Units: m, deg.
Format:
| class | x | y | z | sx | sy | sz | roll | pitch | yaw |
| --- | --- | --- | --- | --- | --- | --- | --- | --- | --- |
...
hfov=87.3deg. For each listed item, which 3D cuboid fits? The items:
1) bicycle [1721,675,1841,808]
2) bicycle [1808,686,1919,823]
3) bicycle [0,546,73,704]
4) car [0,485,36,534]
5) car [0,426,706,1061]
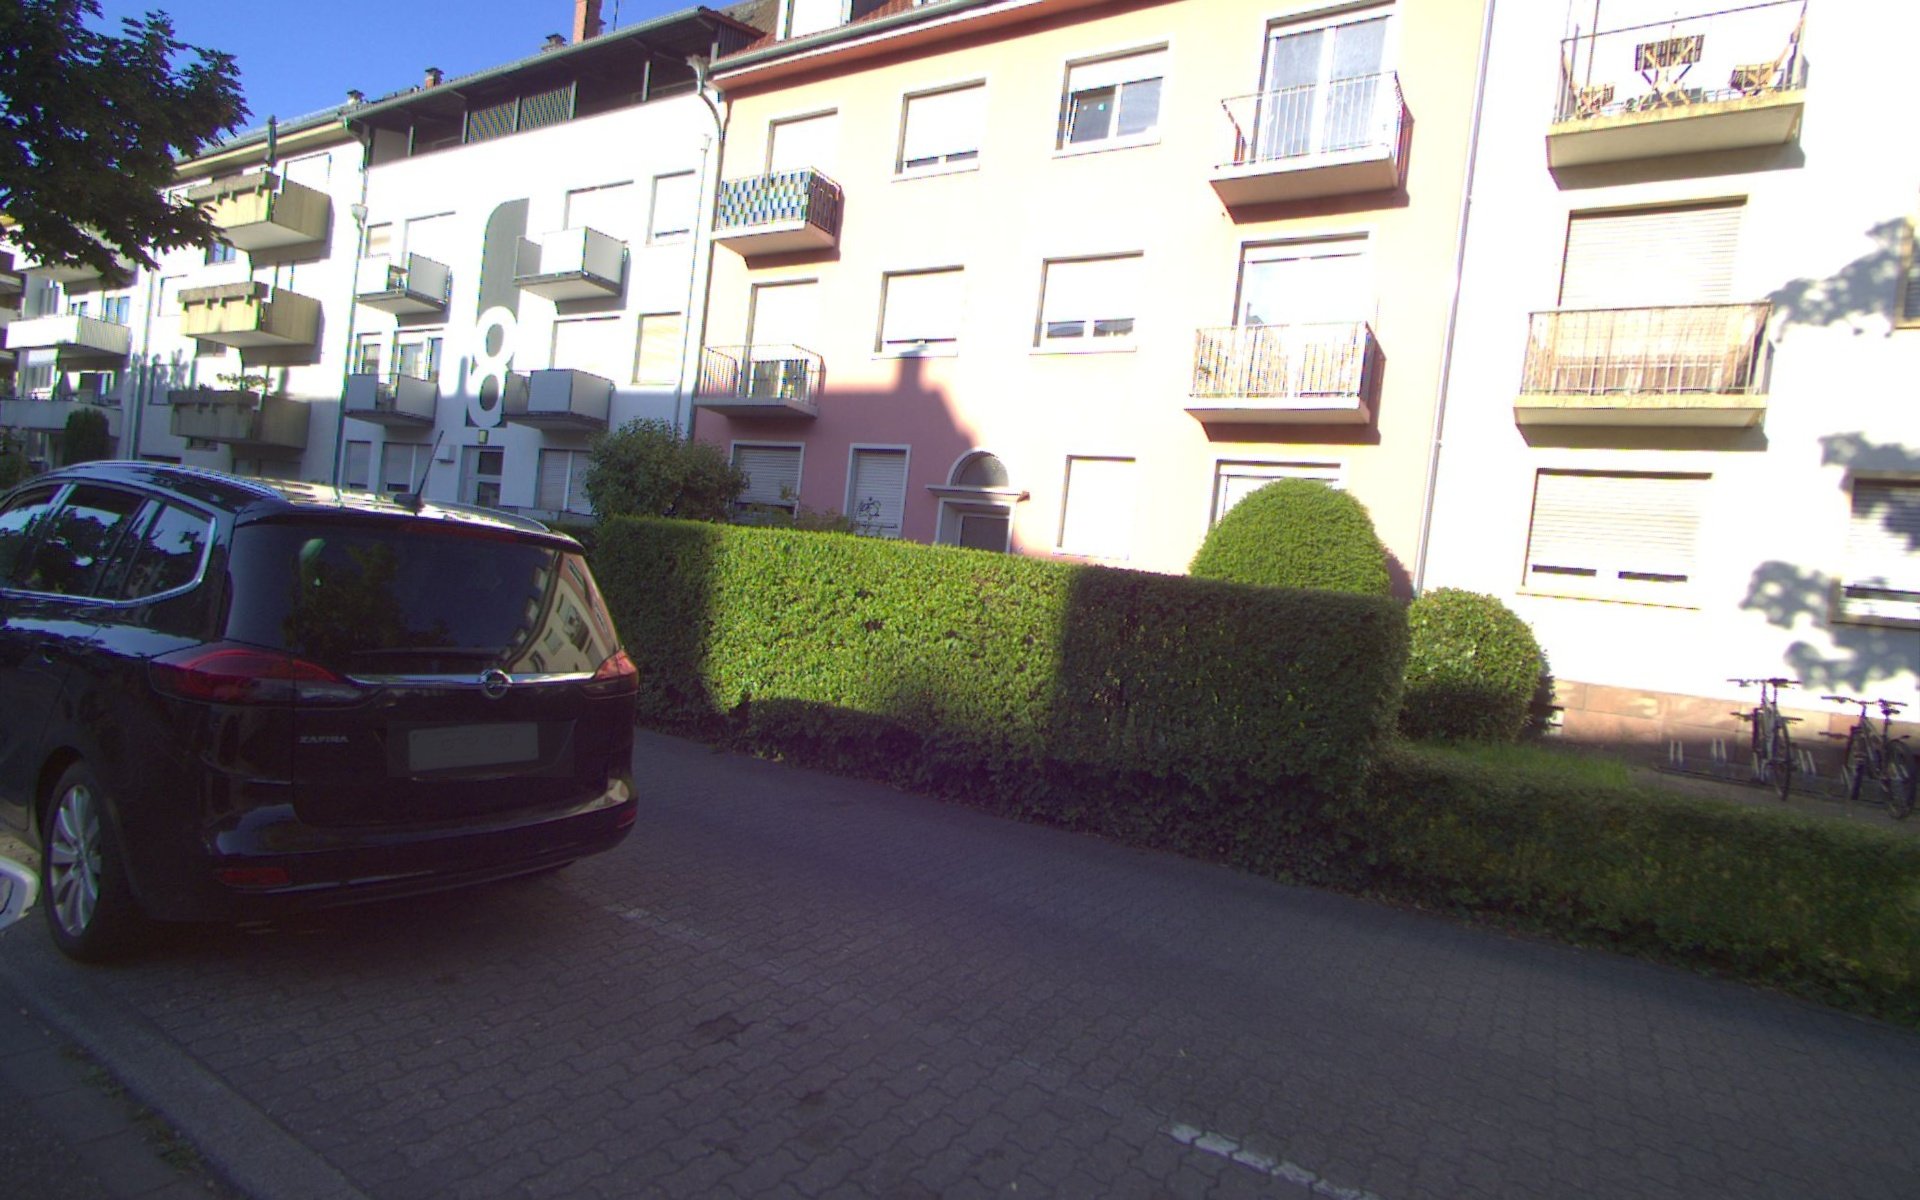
| class | x | y | z | sx | sy | sz | roll | pitch | yaw |
| --- | --- | --- | --- | --- | --- | --- | --- | --- | --- |
| bicycle | 7.550 | 1.255 | 9.307 | 0.418 | 1.069 | 1.524 | 7 | 0 | 27 |
| bicycle | 8.219 | 1.343 | 9.042 | 0.418 | 1.069 | 1.651 | 7 | 0 | 27 |
| bicycle | -6.911 | 0.149 | 6.664 | 0.404 | 1.072 | 1.481 | 7 | 1 | 19 |
| car | -32.349 | -3.132 | 31.951 | 1.793 | 1.480 | 3.994 | 7 | 0 | 28 |
| car | -3.359 | 0.228 | 4.520 | 4.220 | 1.672 | 1.734 | 7 | 1 | 32 |
